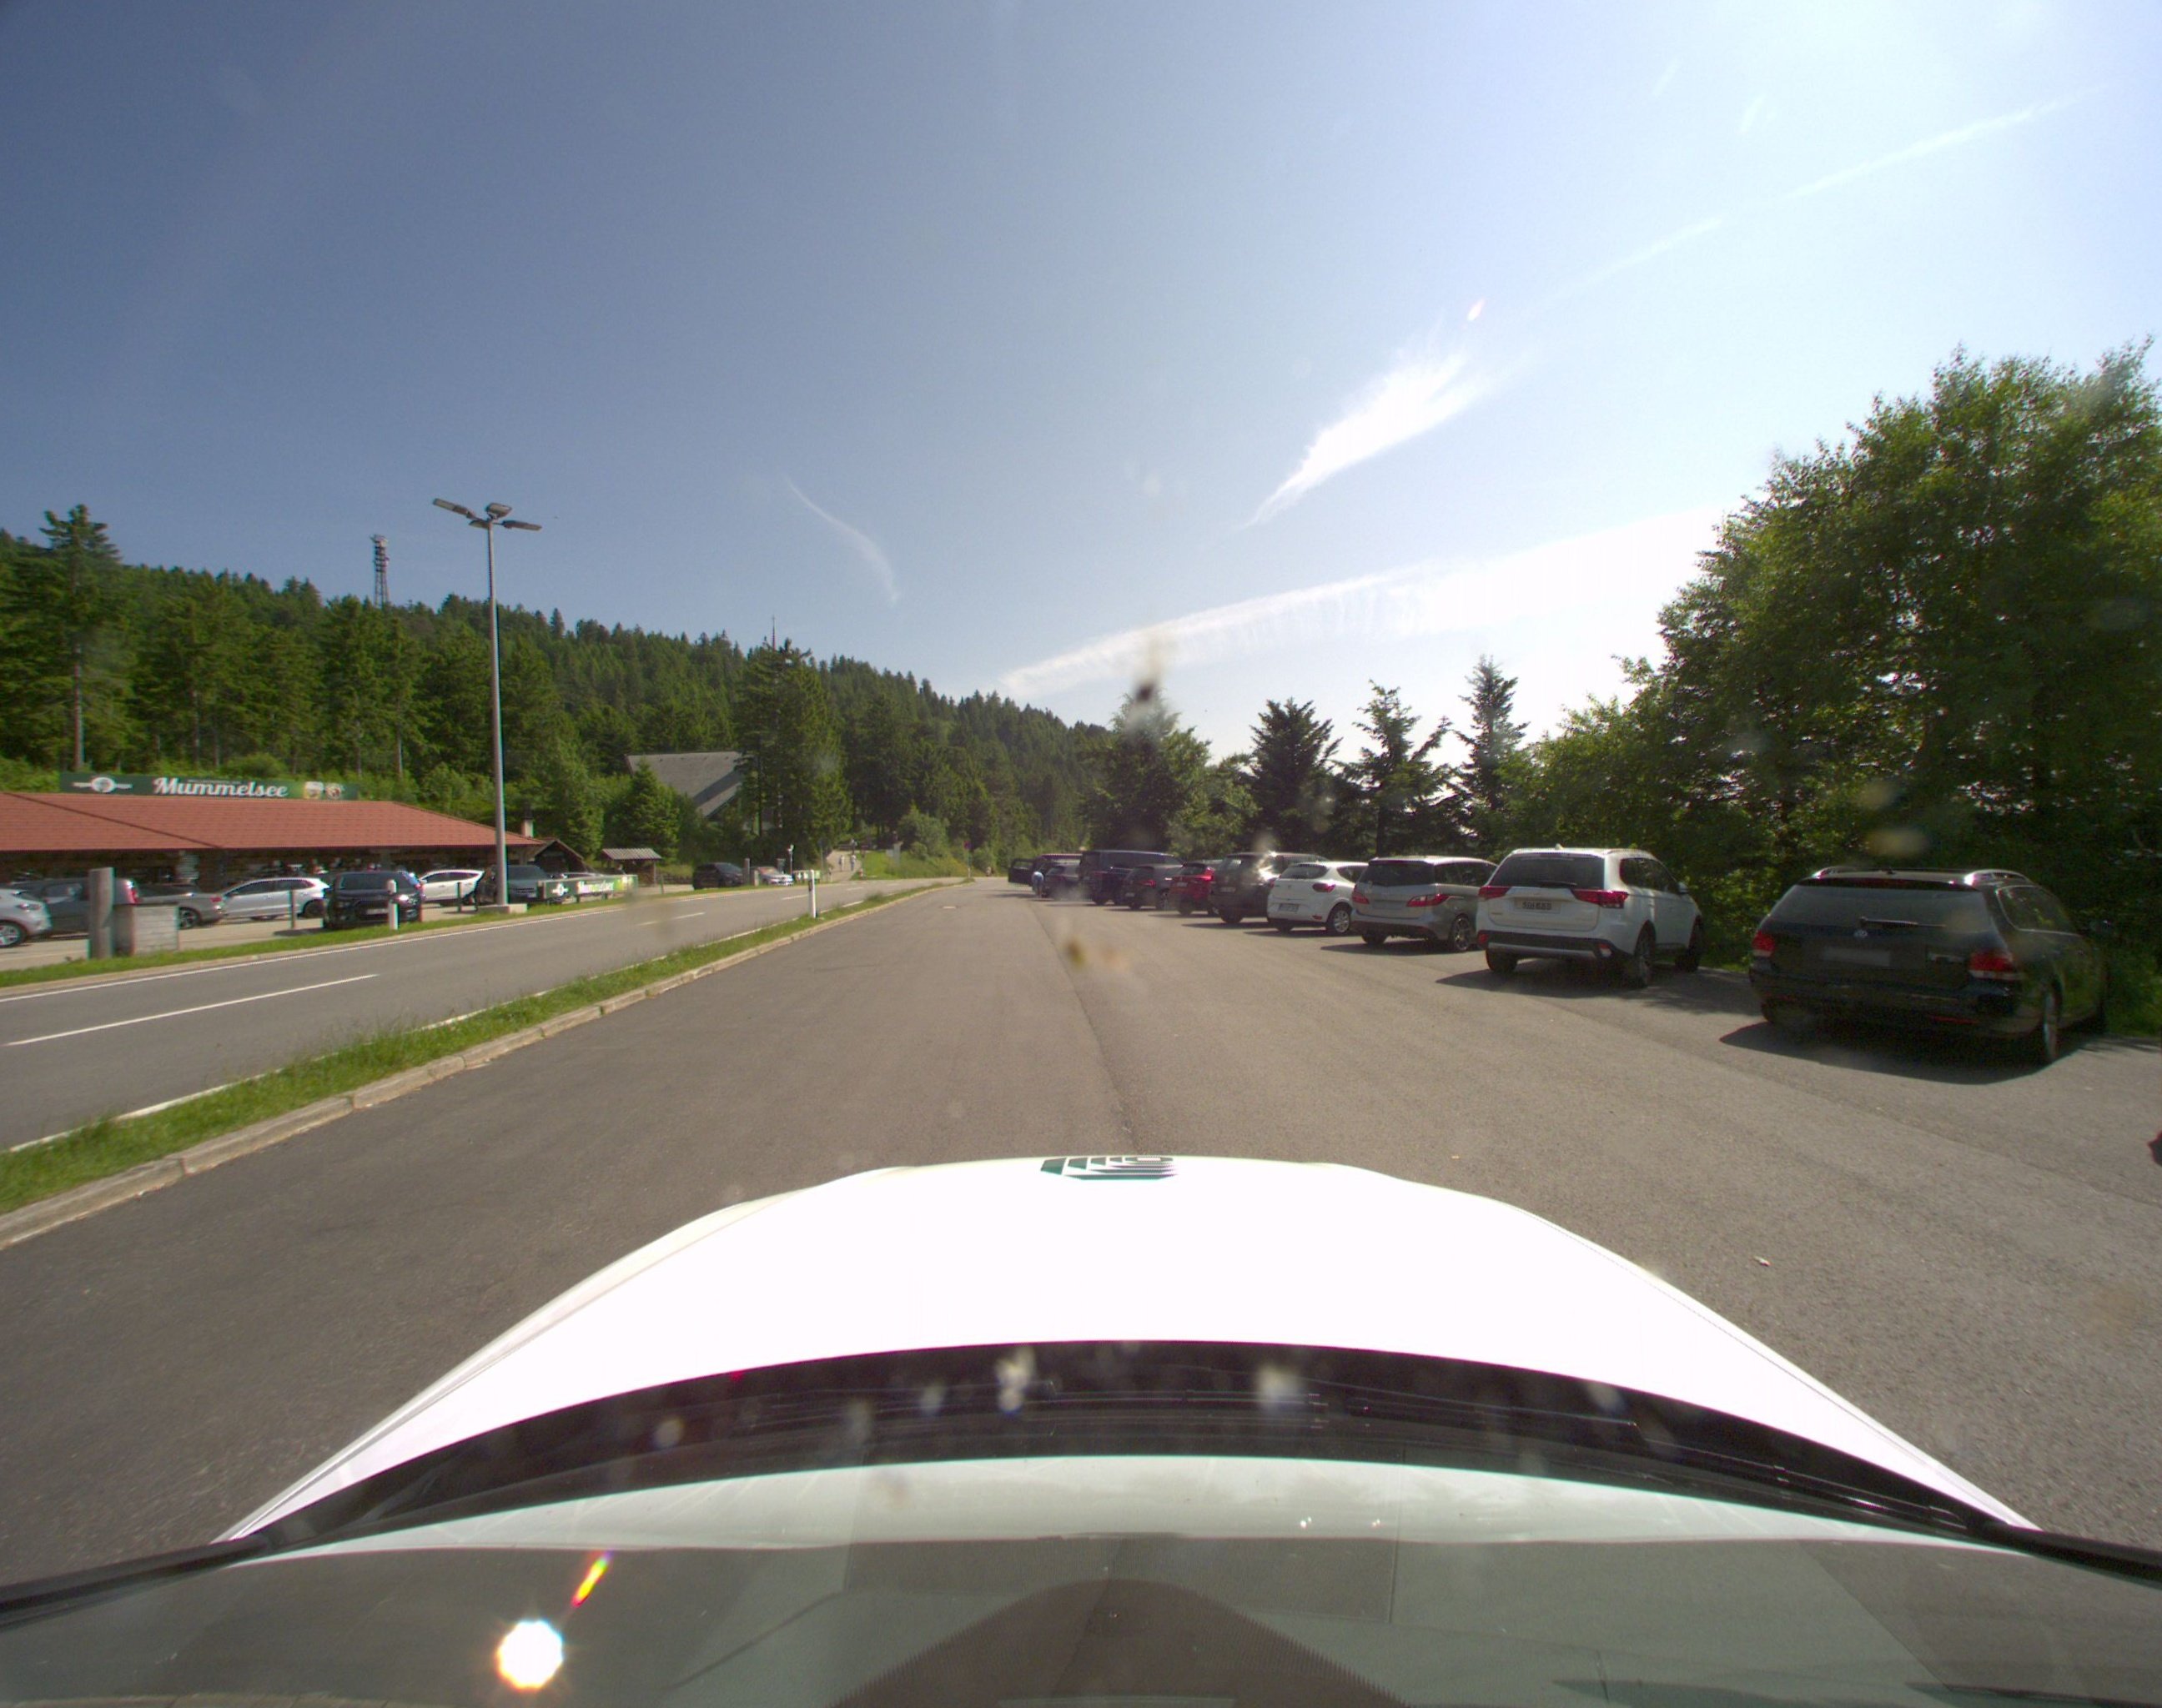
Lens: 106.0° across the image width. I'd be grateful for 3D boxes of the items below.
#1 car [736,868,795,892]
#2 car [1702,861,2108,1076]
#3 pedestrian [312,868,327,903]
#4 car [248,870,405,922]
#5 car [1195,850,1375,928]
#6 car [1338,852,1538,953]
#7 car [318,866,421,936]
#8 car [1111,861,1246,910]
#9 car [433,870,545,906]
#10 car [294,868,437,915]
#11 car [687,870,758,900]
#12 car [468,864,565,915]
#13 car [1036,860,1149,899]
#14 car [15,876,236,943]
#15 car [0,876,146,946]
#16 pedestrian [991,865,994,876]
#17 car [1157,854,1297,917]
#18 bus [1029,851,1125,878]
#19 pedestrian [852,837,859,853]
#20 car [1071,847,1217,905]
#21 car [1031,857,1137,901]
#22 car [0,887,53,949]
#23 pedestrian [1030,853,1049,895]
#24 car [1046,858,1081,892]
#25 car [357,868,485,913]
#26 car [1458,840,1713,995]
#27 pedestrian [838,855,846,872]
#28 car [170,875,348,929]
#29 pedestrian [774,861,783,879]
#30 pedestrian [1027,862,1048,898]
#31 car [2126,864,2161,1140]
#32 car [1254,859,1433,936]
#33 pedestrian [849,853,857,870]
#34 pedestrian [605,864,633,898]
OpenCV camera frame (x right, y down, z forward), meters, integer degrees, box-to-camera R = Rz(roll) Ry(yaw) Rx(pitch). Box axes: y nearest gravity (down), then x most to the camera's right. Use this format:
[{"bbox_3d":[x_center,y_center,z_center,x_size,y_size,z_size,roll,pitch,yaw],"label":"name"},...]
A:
[{"bbox_3d":[-20.555,1.699,52.992,3.919,1.441,1.755,-2,1,39],"label":"car"},{"bbox_3d":[7.709,0.850,7.536,4.066,1.461,1.875,2,-1,-33],"label":"car"},{"bbox_3d":[-41.056,1.694,43.905,0.540,1.874,0.532,-2,-1,38],"label":"pedestrian"},{"bbox_3d":[-27.870,1.514,30.183,1.974,1.574,4.025,-2,1,40],"label":"car"},{"bbox_3d":[4.989,0.804,19.715,4.293,1.695,1.969,2,-1,-37],"label":"car"},{"bbox_3d":[6.497,0.803,14.623,4.021,1.549,1.798,2,-1,-42],"label":"car"},{"bbox_3d":[-18.370,1.125,20.978,1.793,1.552,3.951,-2,1,-44],"label":"car"},{"bbox_3d":[3.094,0.993,25.651,4.013,1.415,1.727,2,-1,-32],"label":"car"},{"bbox_3d":[-28.781,1.632,39.694,1.753,1.468,4.051,-3,0,39],"label":"car"},{"bbox_3d":[-28.764,1.449,32.818,1.974,1.574,4.026,-2,1,40],"label":"car"},{"bbox_3d":[-20.495,1.761,46.534,4.156,1.634,1.800,-2,-1,35],"label":"car"},{"bbox_3d":[-19.156,1.142,27.570,4.008,1.567,1.751,-1,0,41],"label":"car"},{"bbox_3d":[0.464,1.002,31.890,4.007,1.443,1.824,2,-1,-26],"label":"car"},{"bbox_3d":[-27.646,1.520,23.768,1.875,1.545,4.025,-1,1,41],"label":"car"},{"bbox_3d":[-27.045,1.478,21.033,1.713,1.588,3.756,-1,1,41],"label":"car"},{"bbox_3d":[-13.456,2.484,123.598,0.393,1.747,0.406,-1,0,5],"label":"pedestrian"},{"bbox_3d":[4.210,0.867,23.145,4.021,1.590,1.841,2,-1,-42],"label":"car"},{"bbox_3d":[-0.537,1.477,112.182,12.774,3.578,2.992,0,1,12],"label":"bus"},{"bbox_3d":[-30.069,-1.224,108.541,0.816,2.013,0.850,-2,1,-13],"label":"pedestrian"},{"bbox_3d":[2.225,0.788,28.811,4.778,1.880,1.951,2,-1,-24],"label":"car"},{"bbox_3d":[0.156,1.071,34.684,4.013,1.662,1.980,5,-3,-32],"label":"car"},{"bbox_3d":[-26.391,1.562,18.284,1.789,1.371,4.026,-1,1,40],"label":"car"},{"bbox_3d":[-1.806,0.871,35.288,0.581,1.761,0.628,3,-2,-25],"label":"pedestrian"},{"bbox_3d":[-1.174,1.319,51.597,1.901,1.972,4.812,3,-1,-4],"label":"car"},{"bbox_3d":[-28.998,1.563,35.898,1.753,1.672,4.057,-3,0,39],"label":"car"},{"bbox_3d":[6.972,0.713,11.059,4.250,1.694,1.841,1,0,-42],"label":"car"},{"bbox_3d":[-24.293,0.995,82.772,0.653,1.667,0.640,-2,-2,-11],"label":"pedestrian"},{"bbox_3d":[-27.383,1.550,27.235,1.883,1.420,4.025,-2,1,40],"label":"car"},{"bbox_3d":[-26.606,1.425,71.700,0.576,1.532,0.552,-2,1,-5],"label":"pedestrian"},{"bbox_3d":[-1.761,1.051,33.052,0.770,1.402,0.669,-2,1,1],"label":"pedestrian"},{"bbox_3d":[7.739,0.839,4.566,3.815,1.459,1.648,2,0,-27],"label":"car"},{"bbox_3d":[5.723,0.884,17.543,4.019,1.476,1.747,2,-2,-38],"label":"car"},{"bbox_3d":[-23.348,0.760,83.315,0.653,1.799,0.640,-1,0,-11],"label":"pedestrian"},{"bbox_3d":[-24.846,1.437,43.834,0.895,1.734,0.959,-2,1,-5],"label":"pedestrian"}]
